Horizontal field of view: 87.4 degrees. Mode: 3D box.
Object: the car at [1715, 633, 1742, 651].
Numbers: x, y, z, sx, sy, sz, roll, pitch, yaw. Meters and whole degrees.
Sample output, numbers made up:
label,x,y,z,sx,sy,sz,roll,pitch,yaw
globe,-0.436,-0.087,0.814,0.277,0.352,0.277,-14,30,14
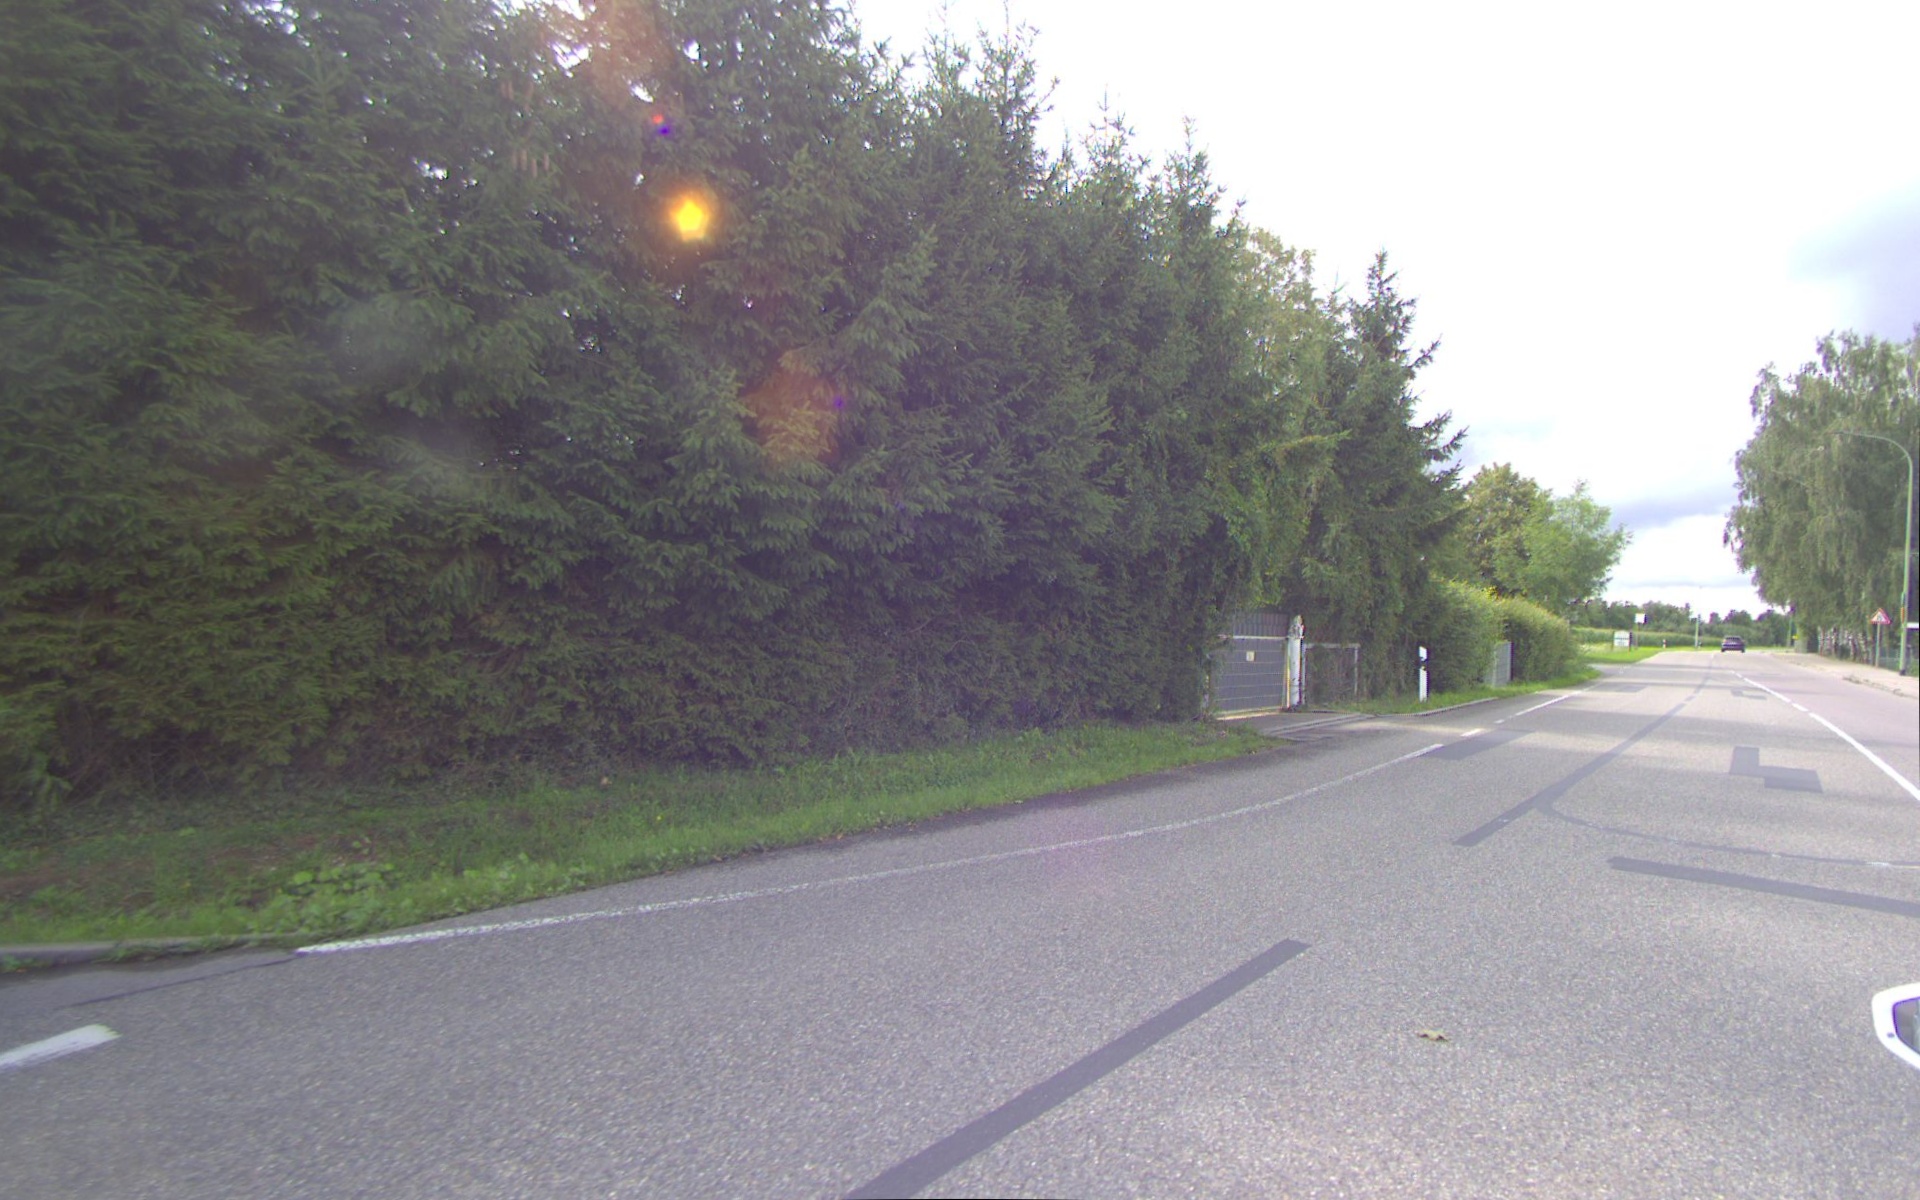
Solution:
label,x,y,z,sx,sy,sz,roll,pitch,yaw
car,74.959,4.085,98.021,1.968,1.573,3.985,3,1,37
